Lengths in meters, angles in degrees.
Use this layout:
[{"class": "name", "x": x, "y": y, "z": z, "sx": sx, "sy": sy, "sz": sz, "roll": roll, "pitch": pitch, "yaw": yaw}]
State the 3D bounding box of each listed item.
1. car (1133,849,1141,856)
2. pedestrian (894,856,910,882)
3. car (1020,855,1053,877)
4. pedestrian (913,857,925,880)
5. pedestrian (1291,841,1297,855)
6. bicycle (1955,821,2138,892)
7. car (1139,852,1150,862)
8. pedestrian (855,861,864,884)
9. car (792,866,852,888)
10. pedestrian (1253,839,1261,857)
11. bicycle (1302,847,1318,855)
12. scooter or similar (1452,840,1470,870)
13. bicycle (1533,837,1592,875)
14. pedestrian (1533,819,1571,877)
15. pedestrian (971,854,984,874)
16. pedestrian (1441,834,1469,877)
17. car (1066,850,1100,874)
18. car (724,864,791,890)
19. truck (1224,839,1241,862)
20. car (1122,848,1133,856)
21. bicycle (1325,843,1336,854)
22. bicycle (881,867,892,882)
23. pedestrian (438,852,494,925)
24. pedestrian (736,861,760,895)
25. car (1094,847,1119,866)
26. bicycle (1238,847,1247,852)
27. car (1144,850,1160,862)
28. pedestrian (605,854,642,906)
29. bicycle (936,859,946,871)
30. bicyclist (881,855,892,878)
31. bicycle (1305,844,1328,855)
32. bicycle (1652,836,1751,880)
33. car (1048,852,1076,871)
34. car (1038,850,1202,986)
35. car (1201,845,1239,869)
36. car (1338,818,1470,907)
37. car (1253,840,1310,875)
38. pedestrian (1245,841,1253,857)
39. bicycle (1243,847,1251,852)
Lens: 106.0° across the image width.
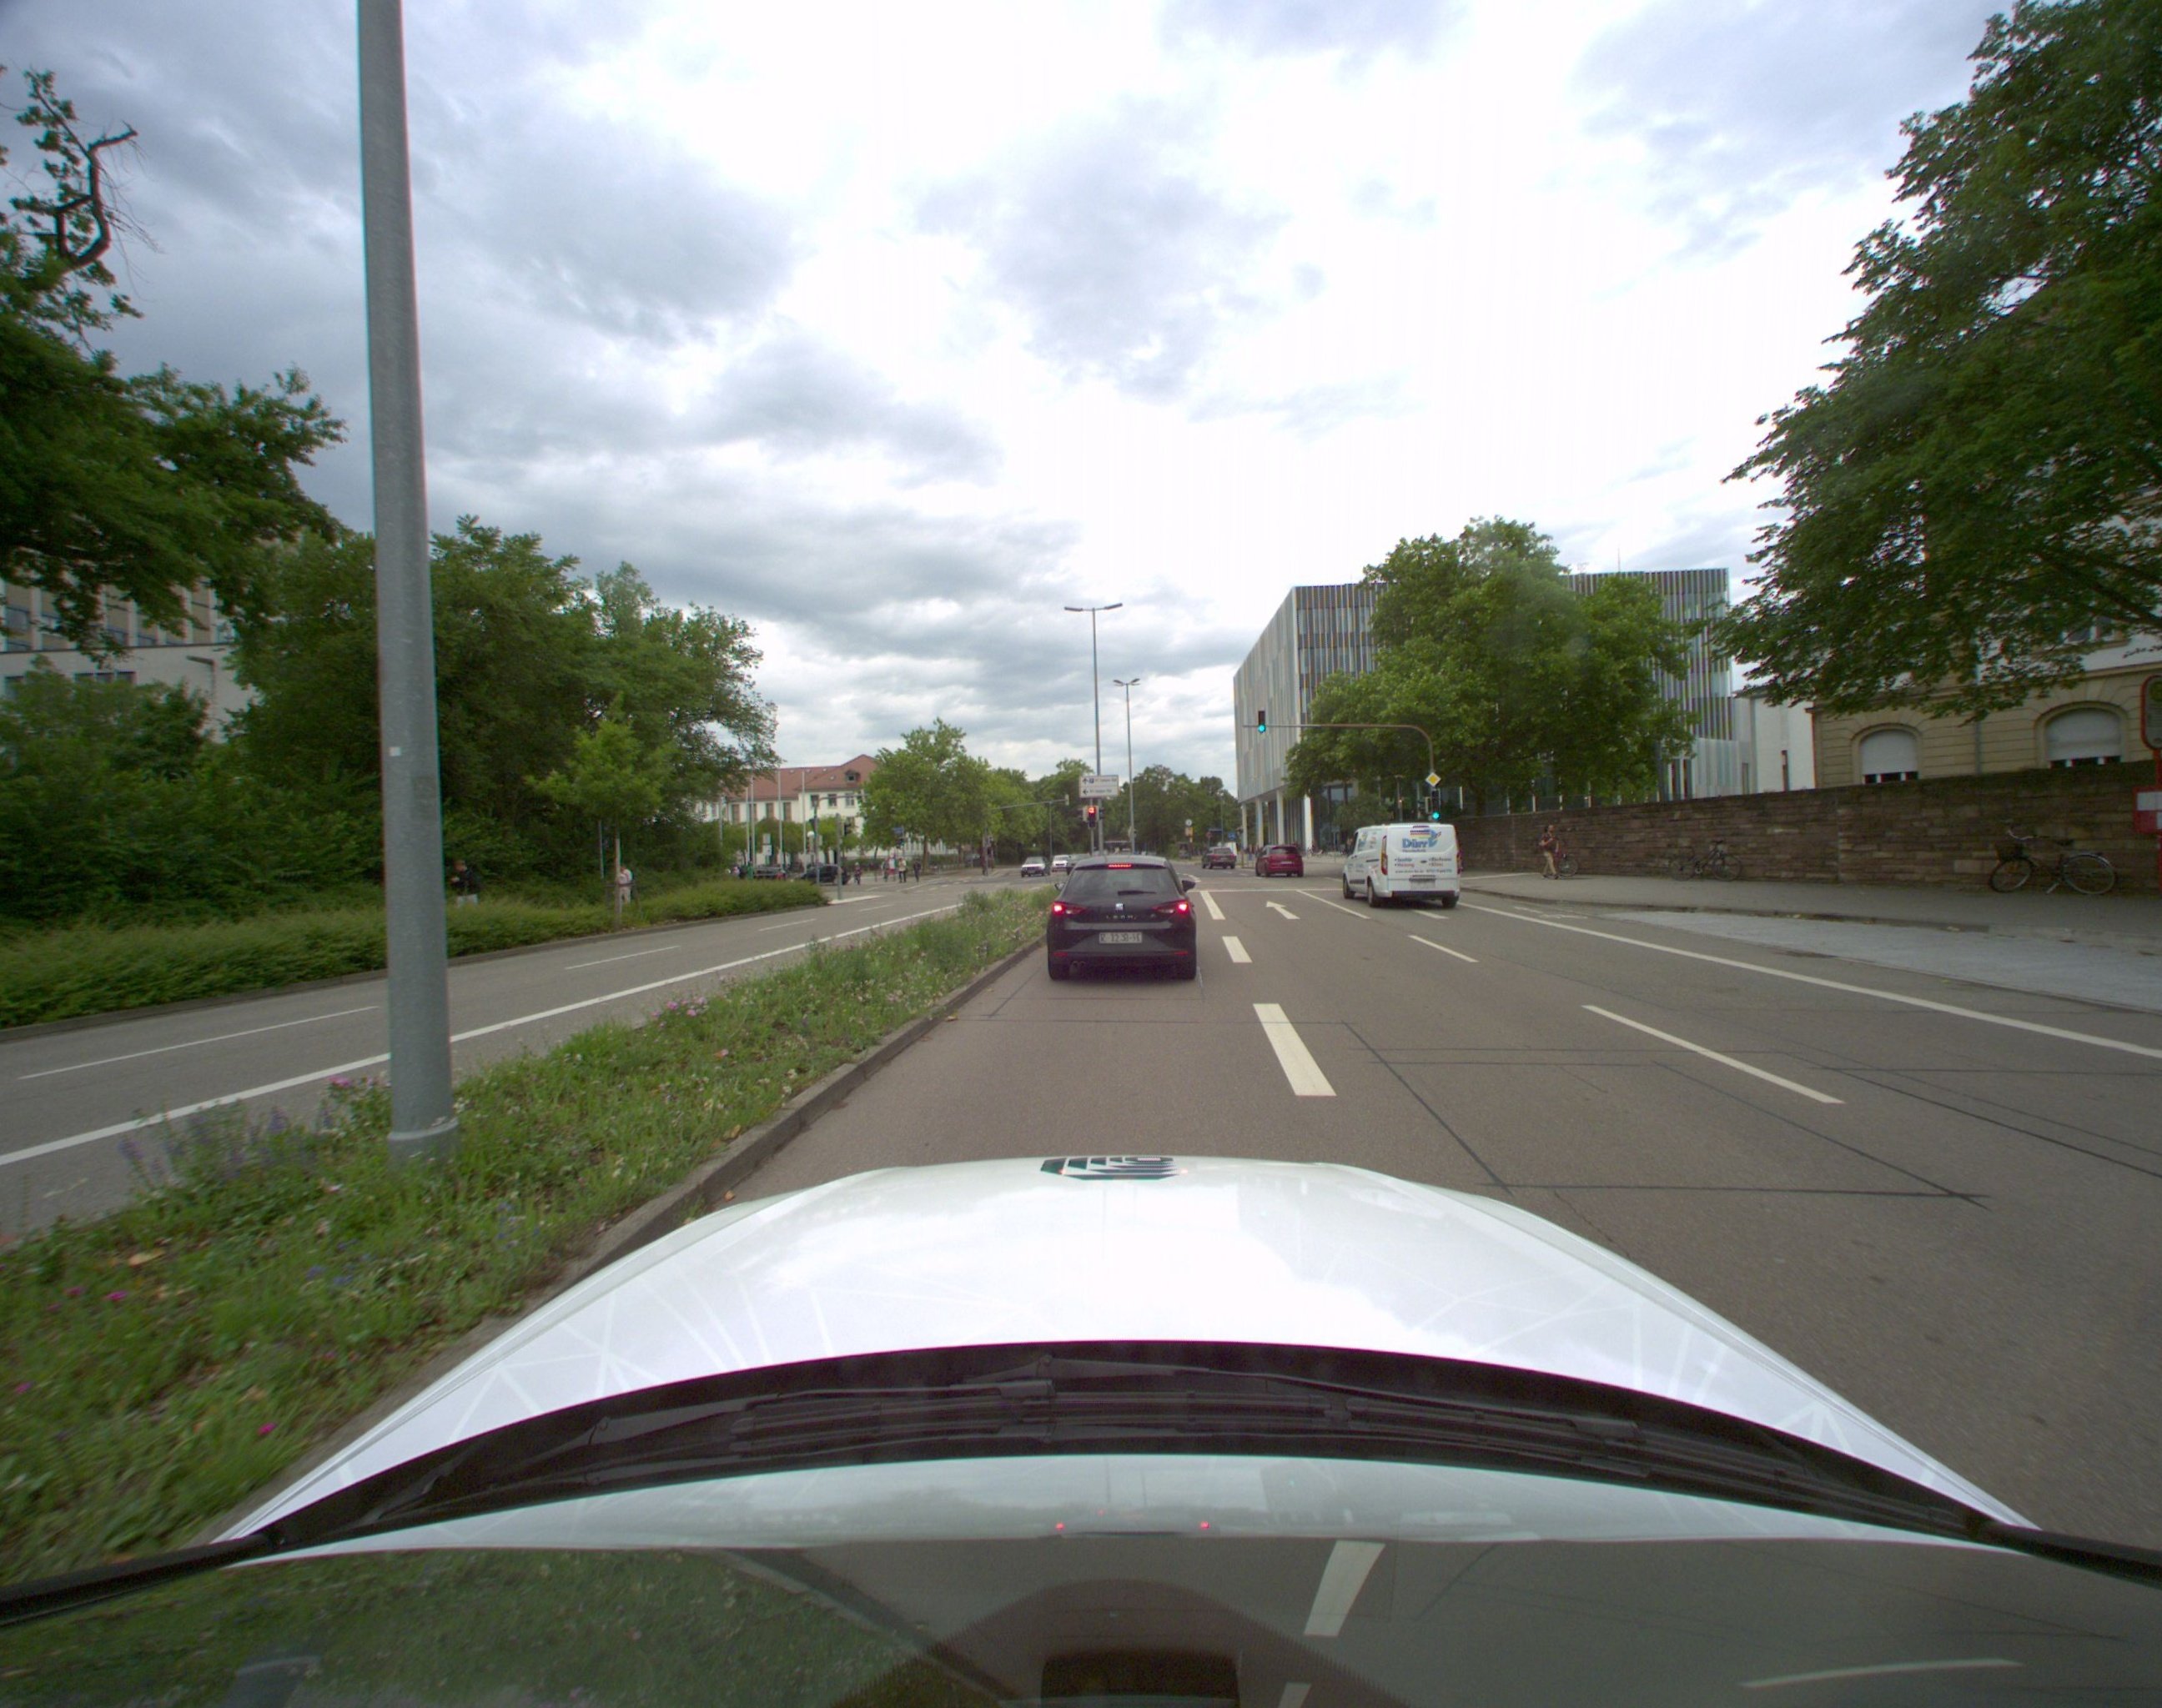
[{"class": "car", "x": 11.335, "y": -0.321, "z": 165.420, "sx": 1.499, "sy": 1.193, "sz": 3.166, "roll": -4, "pitch": 1, "yaw": 3}, {"class": "pedestrian", "x": -12.501, "y": 1.053, "z": 56.873, "sx": 0.845, "sy": 1.740, "sz": 0.823, "roll": -1, "pitch": -5, "yaw": -29}, {"class": "car", "x": -3.101, "y": 0.813, "z": 57.469, "sx": 1.599, "sy": 1.381, "sz": 3.816, "roll": -4, "pitch": 1, "yaw": 7}, {"class": "pedestrian", "x": -11.283, "y": 1.007, "z": 56.672, "sx": 0.790, "sy": 1.558, "sz": 0.696, "roll": -2, "pitch": -3, "yaw": -14}, {"class": "pedestrian", "x": 22.745, "y": -0.641, "z": 86.937, "sx": 0.468, "sy": 1.361, "sz": 0.447, "roll": -3, "pitch": 0, "yaw": 16}, {"class": "bicycle", "x": 17.137, "y": 0.046, "z": 14.537, "sx": 0.848, "sy": 1.127, "sz": 1.918, "roll": -4, "pitch": 0, "yaw": -8}, {"class": "car", "x": 9.676, "y": 0.418, "z": 124.069, "sx": 1.609, "sy": 1.354, "sz": 4.004, "roll": -4, "pitch": 1, "yaw": 3}, {"class": "pedestrian", "x": -15.509, "y": 1.289, "z": 56.966, "sx": 0.571, "sy": 1.526, "sz": 0.844, "roll": -2, "pitch": -4, "yaw": -17}, {"class": "car", "x": -18.308, "y": 1.618, "z": 57.628, "sx": 3.643, "sy": 1.223, "sz": 1.564, "roll": -2, "pitch": 7, "yaw": 0}, {"class": "pedestrian", "x": 17.675, "y": -0.578, "z": 82.000, "sx": 0.683, "sy": 1.781, "sz": 0.678, "roll": -2, "pitch": 0, "yaw": 6}, {"class": "bicycle", "x": 24.663, "y": -0.352, "z": 87.704, "sx": 1.473, "sy": 0.748, "sz": 0.566, "roll": -4, "pitch": 0, "yaw": 3}, {"class": "scooter or similar", "x": 16.275, "y": 0.029, "z": 34.875, "sx": 0.428, "sy": 1.179, "sz": 1.714, "roll": -4, "pitch": 0, "yaw": 31}, {"class": "bicycle", "x": 16.269, "y": 0.046, "z": 27.589, "sx": 0.800, "sy": 1.174, "sz": 1.955, "roll": -5, "pitch": 0, "yaw": 2}, {"class": "pedestrian", "x": 15.323, "y": -0.204, "z": 26.530, "sx": 0.628, "sy": 1.821, "sz": 1.034, "roll": -4, "pitch": 0, "yaw": 6}, {"class": "pedestrian", "x": -8.534, "y": 0.816, "z": 67.257, "sx": 0.872, "sy": 1.586, "sz": 0.543, "roll": -4, "pitch": 0, "yaw": -1}, {"class": "pedestrian", "x": 14.120, "y": 0.049, "z": 30.771, "sx": 0.656, "sy": 1.561, "sz": 0.637, "roll": -6, "pitch": 0, "yaw": 6}, {"class": "car", "x": 0.204, "y": 0.557, "z": 57.380, "sx": 1.754, "sy": 1.460, "sz": 4.801, "roll": -4, "pitch": -1, "yaw": 7}, {"class": "car", "x": -22.653, "y": 1.605, "z": 57.105, "sx": 4.052, "sy": 1.452, "sz": 1.617, "roll": -3, "pitch": 6, "yaw": -12}, {"class": "truck", "x": 15.469, "y": -0.396, "z": 83.187, "sx": 1.311, "sy": 2.243, "sz": 3.408, "roll": -4, "pitch": 0, "yaw": 6}, {"class": "car", "x": 8.749, "y": -0.368, "z": 153.716, "sx": 1.690, "sy": 1.503, "sz": 4.009, "roll": -4, "pitch": 1, "yaw": 0}, {"class": "bicycle", "x": 26.071, "y": -0.605, "z": 85.036, "sx": 0.614, "sy": 1.045, "sz": 1.717, "roll": -3, "pitch": 1, "yaw": 33}, {"class": "bicycle", "x": -14.043, "y": 1.486, "z": 58.852, "sx": 0.666, "sy": 1.062, "sz": 1.613, "roll": -1, "pitch": -1, "yaw": -11}, {"class": "pedestrian", "x": -15.251, "y": 0.842, "z": 20.215, "sx": 0.617, "sy": 1.729, "sz": 0.820, "roll": -4, "pitch": 0, "yaw": 6}, {"class": "pedestrian", "x": -17.529, "y": 1.242, "z": 42.873, "sx": 0.947, "sy": 1.759, "sz": 0.866, "roll": 0, "pitch": -1, "yaw": -38}, {"class": "car", "x": 2.463, "y": 0.233, "z": 77.732, "sx": 1.911, "sy": 1.664, "sz": 4.407, "roll": -4, "pitch": 0, "yaw": 7}, {"class": "bicycle", "x": 25.255, "y": -0.694, "z": 127.195, "sx": 1.260, "sy": 0.848, "sz": 0.479, "roll": 1, "pitch": -1, "yaw": -16}, {"class": "car", "x": 9.305, "y": 0.282, "z": 106.738, "sx": 1.891, "sy": 1.354, "sz": 3.886, "roll": -4, "pitch": 1, "yaw": 3}, {"class": "pedestrian", "x": -14.992, "y": 0.828, "z": 26.684, "sx": 0.696, "sy": 1.636, "sz": 0.673, "roll": -4, "pitch": 0, "yaw": 6}, {"class": "bicycle", "x": -14.036, "y": 1.082, "z": 81.605, "sx": 0.605, "sy": 1.060, "sz": 2.044, "roll": -4, "pitch": 0, "yaw": 0}, {"class": "bicyclist", "x": -14.058, "y": 0.889, "z": 58.886, "sx": 0.666, "sy": 1.635, "sz": 0.958, "roll": -1, "pitch": -1, "yaw": -11}, {"class": "bicycle", "x": 21.510, "y": -0.419, "z": 74.449, "sx": 1.889, "sy": 0.898, "sz": 0.694, "roll": -4, "pitch": 0, "yaw": -15}, {"class": "bicycle", "x": 16.530, "y": 0.103, "z": 21.775, "sx": 0.939, "sy": 1.073, "sz": 1.964, "roll": -4, "pitch": 0, "yaw": -8}, {"class": "car", "x": -1.645, "y": 0.634, "z": 72.348, "sx": 1.694, "sy": 1.431, "sz": 4.239, "roll": -4, "pitch": 1, "yaw": 9}, {"class": "car", "x": 0.690, "y": 0.684, "z": 10.712, "sx": 1.743, "sy": 1.432, "sz": 3.779, "roll": -1, "pitch": 1, "yaw": 9}, {"class": "car", "x": 10.592, "y": 0.197, "z": 62.209, "sx": 1.911, "sy": 1.664, "sz": 4.109, "roll": -4, "pitch": 1, "yaw": -4}, {"class": "car", "x": 7.918, "y": 0.167, "z": 20.440, "sx": 1.957, "sy": 1.972, "sz": 4.351, "roll": 0, "pitch": 1, "yaw": 5}, {"class": "car", "x": 9.854, "y": 0.139, "z": 40.349, "sx": 1.942, "sy": 1.624, "sz": 3.750, "roll": -1, "pitch": 1, "yaw": 1}, {"class": "pedestrian", "x": 16.932, "y": -0.516, "z": 81.969, "sx": 0.683, "sy": 1.639, "sz": 0.634, "roll": -1, "pitch": 1, "yaw": 6}, {"class": "bicycle", "x": 25.480, "y": -0.731, "z": 125.077, "sx": 1.237, "sy": 0.823, "sz": 0.479, "roll": 0, "pitch": -1, "yaw": -16}]
